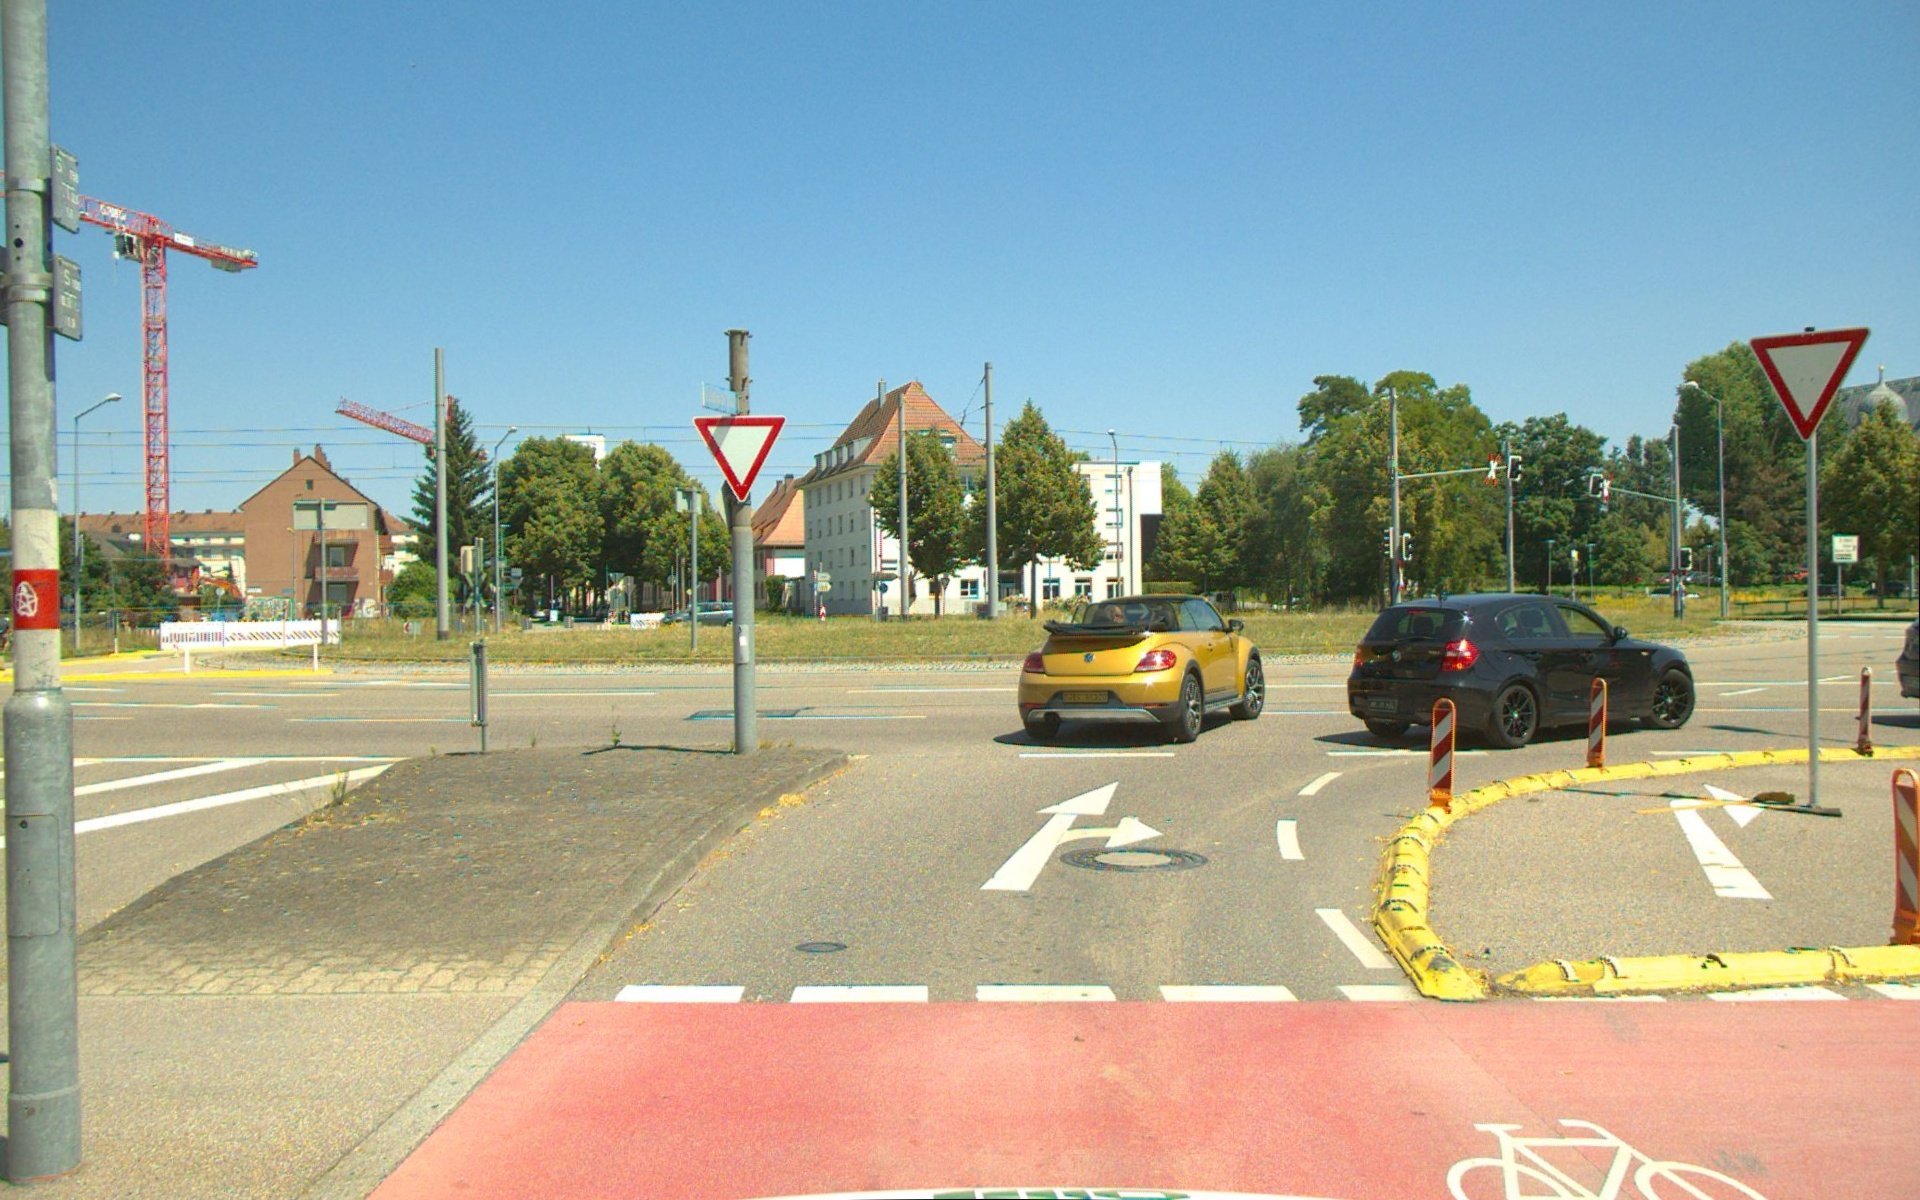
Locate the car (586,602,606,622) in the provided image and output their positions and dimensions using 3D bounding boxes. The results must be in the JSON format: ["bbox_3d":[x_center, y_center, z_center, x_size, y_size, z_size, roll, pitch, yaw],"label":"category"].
[{"bbox_3d":[-37.761,1.262,171.785,1.959,2.049,3.988,0,0,-12],"label":"car"}]

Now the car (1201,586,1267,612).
[{"bbox_3d":[18.284,-0.038,110.306,3.917,1.713,1.994,0,0,-12],"label":"car"}]

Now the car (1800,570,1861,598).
[{"bbox_3d":[67.118,-1.219,127.551,3.925,2.049,1.990,0,-1,40],"label":"car"}]

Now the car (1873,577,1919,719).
[{"bbox_3d":[11.827,0.447,16.923,3.980,1.427,1.755,-1,1,10],"label":"car"}]

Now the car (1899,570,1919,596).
[{"bbox_3d":[77.587,-1.373,132.372,3.925,2.049,1.990,0,-1,40],"label":"car"}]

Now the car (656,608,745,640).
[{"bbox_3d":[-12.145,1.115,77.351,3.921,1.490,1.992,0,0,-15],"label":"car"}]

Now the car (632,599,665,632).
[{"bbox_3d":[-19.753,0.965,104.881,1.959,2.049,3.988,0,0,-12],"label":"car"}]

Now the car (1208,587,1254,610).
[{"bbox_3d":[24.212,-0.145,147.614,3.902,2.049,2.001,0,-1,15],"label":"car"}]

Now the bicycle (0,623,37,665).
[{"bbox_3d":[-39.861,1.842,69.508,0.546,1.714,2.087,0,0,15],"label":"bicycle"}]

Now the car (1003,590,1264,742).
[{"bbox_3d":[1.962,0.618,17.654,1.789,1.427,3.661,0,0,23],"label":"car"}]

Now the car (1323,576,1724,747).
[{"bbox_3d":[5.709,0.523,16.642,3.950,1.465,1.782,-2,1,-33],"label":"car"}]

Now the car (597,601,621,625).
[{"bbox_3d":[-30.837,1.145,145.266,1.959,2.049,3.988,0,0,-12],"label":"car"}]
